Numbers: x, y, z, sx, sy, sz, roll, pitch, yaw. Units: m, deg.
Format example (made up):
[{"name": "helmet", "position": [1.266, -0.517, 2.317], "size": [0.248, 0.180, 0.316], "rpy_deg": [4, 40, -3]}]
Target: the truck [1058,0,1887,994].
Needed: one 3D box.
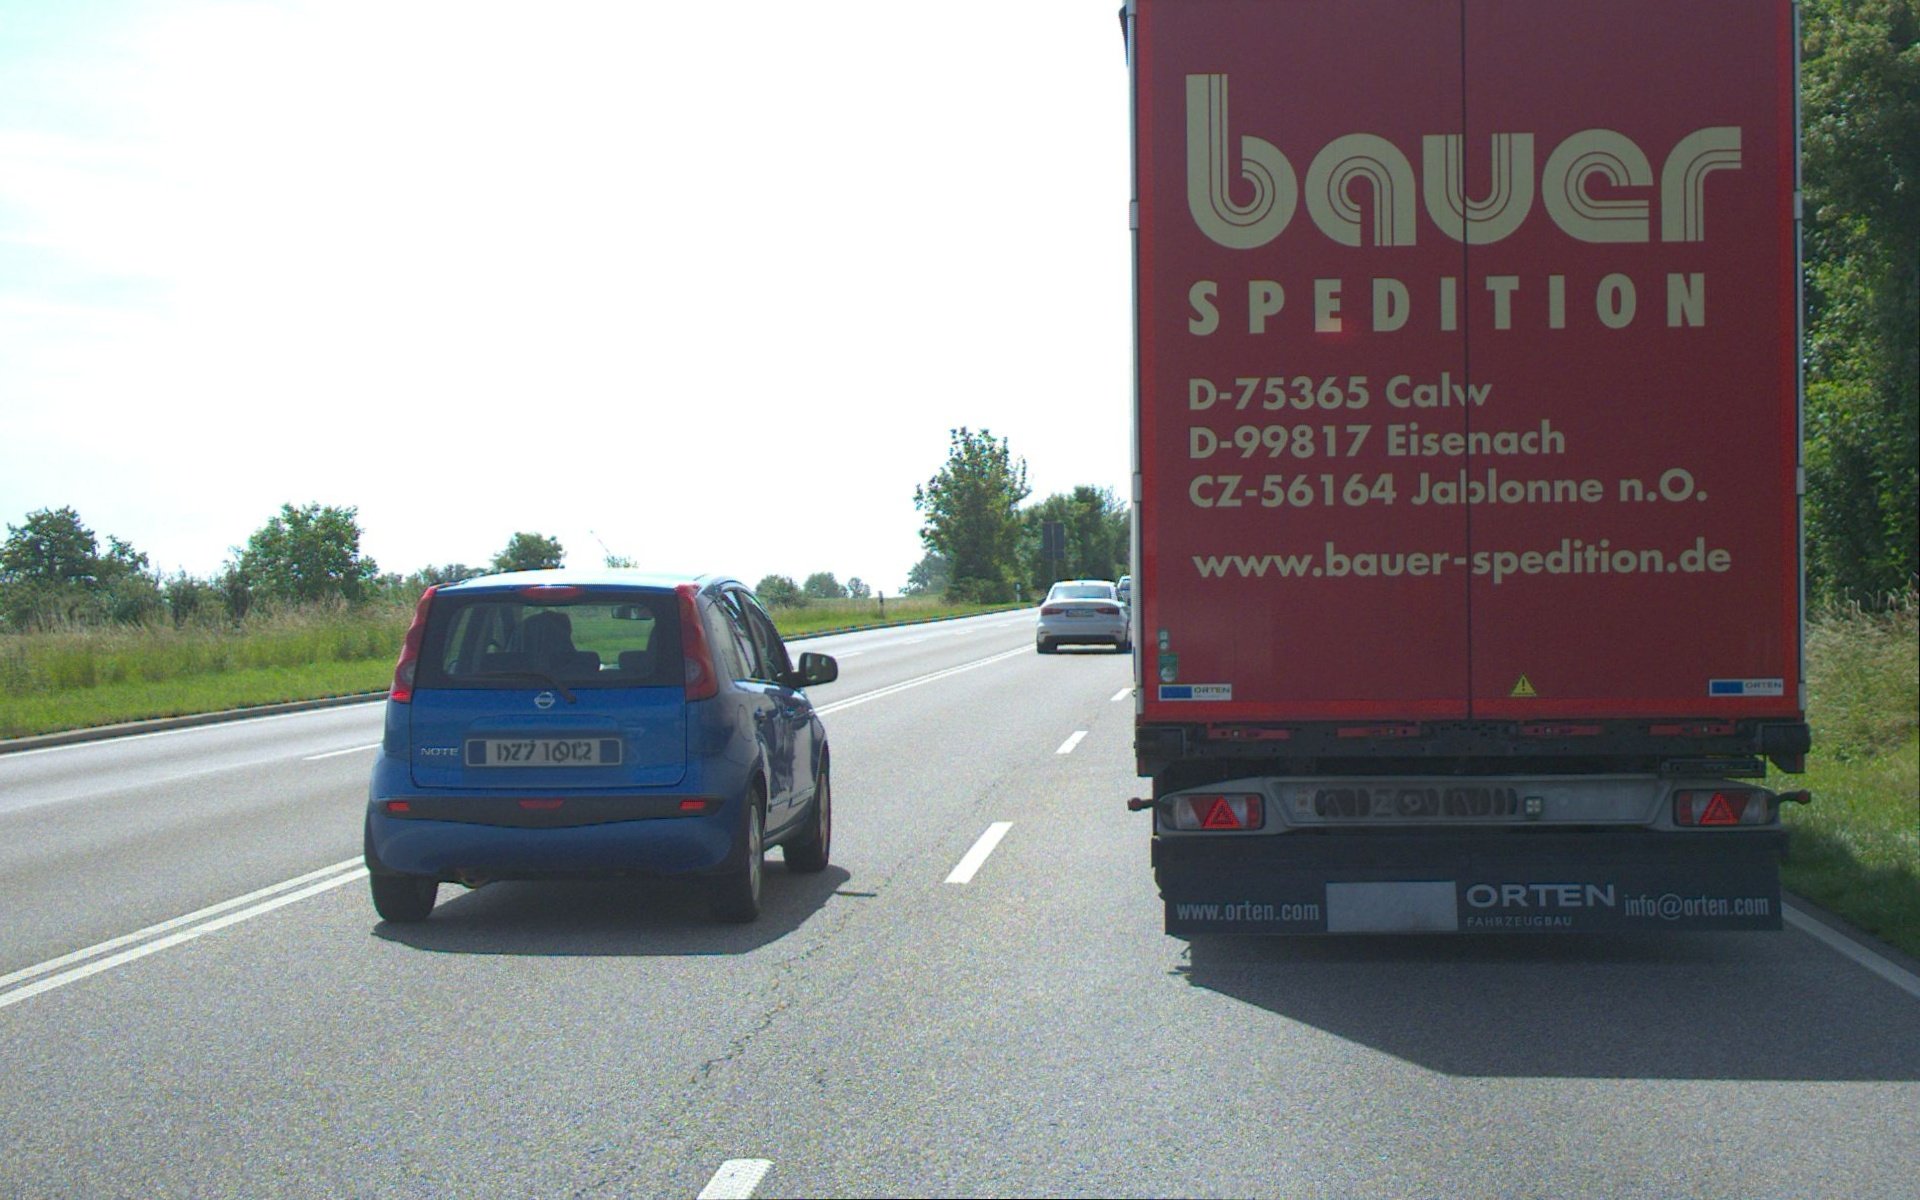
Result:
[{"name": "truck", "position": [2.223, -0.728, 20.976], "size": [3.007, 4.166, 16.713], "rpy_deg": [0, 1, 2]}]

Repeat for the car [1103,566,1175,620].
[{"name": "car", "position": [5.111, -0.210, 97.801], "size": [1.821, 1.467, 4.788], "rpy_deg": [1, 1, 5]}]

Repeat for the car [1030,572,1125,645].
[{"name": "car", "position": [2.347, 0.148, 67.673], "size": [1.703, 1.371, 4.603], "rpy_deg": [1, 1, 4]}]

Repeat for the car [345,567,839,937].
[{"name": "car", "position": [-1.600, 0.613, 16.224], "size": [1.632, 1.526, 3.914], "rpy_deg": [0, 1, 4]}]
